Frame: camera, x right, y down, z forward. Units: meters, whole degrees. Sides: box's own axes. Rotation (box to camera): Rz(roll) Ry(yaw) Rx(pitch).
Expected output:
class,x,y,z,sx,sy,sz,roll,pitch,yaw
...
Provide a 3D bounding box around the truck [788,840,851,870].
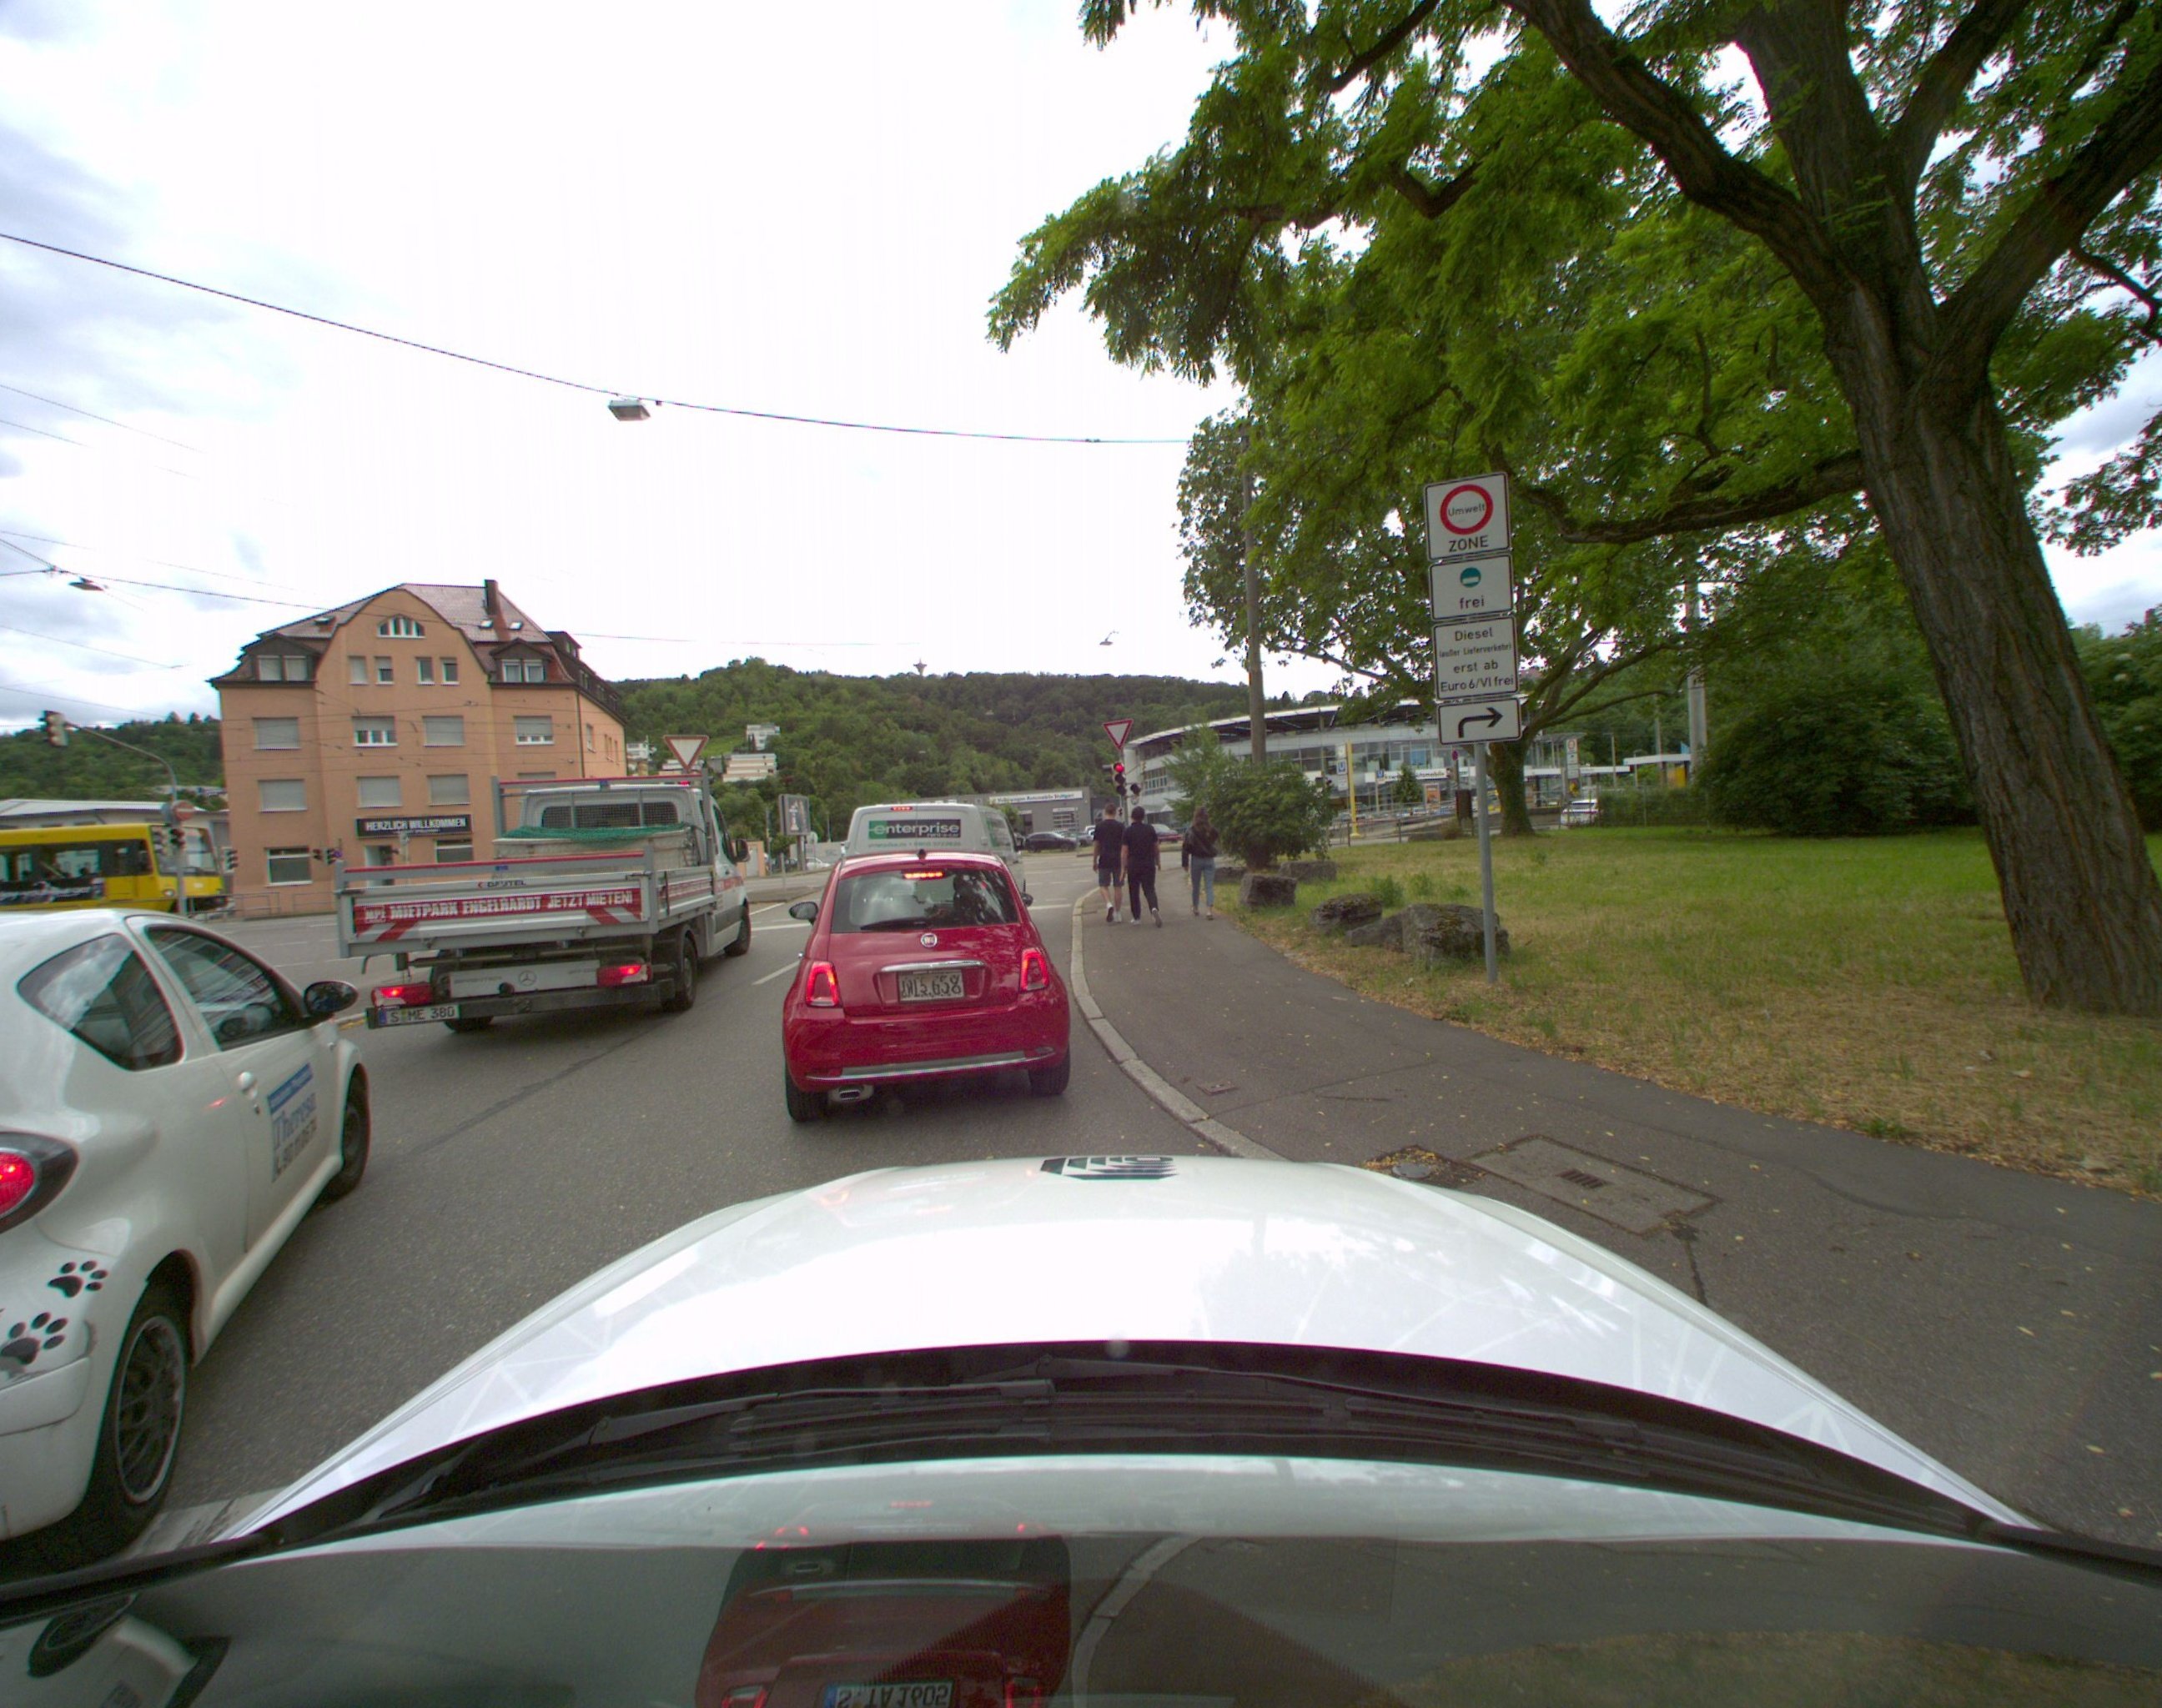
class,x,y,z,sx,sy,sz,roll,pitch,yaw
truck,-24.303,0.116,75.778,5.216,2.393,1.981,-5,2,-29

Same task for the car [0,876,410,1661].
class,x,y,z,sx,sy,sz,roll,pitch,yaw
car,-3.512,0.865,2.574,1.650,1.432,3.395,-5,2,-33

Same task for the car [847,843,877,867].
class,x,y,z,sx,sy,sz,roll,pitch,yaw
car,-18.334,0.012,68.334,1.860,1.817,4.387,-4,2,-10

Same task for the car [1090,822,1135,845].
class,x,y,z,sx,sy,sz,roll,pitch,yaw
car,3.467,-2.269,89.748,4.779,2.156,2.234,-4,1,1

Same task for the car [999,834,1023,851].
class,x,y,z,sx,sy,sz,roll,pitch,yaw
car,-6.721,-1.144,79.022,1.763,1.533,4.093,-4,2,2

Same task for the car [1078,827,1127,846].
class,x,y,z,sx,sy,sz,roll,pitch,yaw
car,2.162,-1.742,81.639,4.779,1.533,1.776,-4,1,1

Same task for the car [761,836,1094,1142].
class,x,y,z,sx,sy,sz,roll,pitch,yaw
car,-1.116,0.658,5.935,1.640,1.456,3.417,-3,1,-12

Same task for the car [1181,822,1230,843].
class,x,y,z,sx,sy,sz,roll,pitch,yaw
car,10.297,-1.759,67.671,1.782,1.500,3.981,-5,2,-32

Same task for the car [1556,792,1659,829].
class,x,y,z,sx,sy,sz,roll,pitch,yaw
car,25.604,-2.119,39.584,4.903,1.507,1.791,-5,3,-23

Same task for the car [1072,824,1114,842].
class,x,y,z,sx,sy,sz,roll,pitch,yaw
car,1.436,-2.552,96.764,4.779,1.802,1.776,-4,1,1

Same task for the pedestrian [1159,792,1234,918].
class,x,y,z,sx,sy,sz,roll,pitch,yaw
pedestrian,1.671,0.009,11.889,0.695,1.739,0.783,-5,1,-20

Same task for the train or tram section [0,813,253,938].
class,x,y,z,sx,sy,sz,roll,pitch,yaw
train or tram section,-39.159,1.132,25.768,19.133,3.665,3.263,-4,1,-13

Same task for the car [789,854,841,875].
class,x,y,z,sx,sy,sz,roll,pitch,yaw
car,-23.716,0.881,72.725,4.213,1.533,1.766,-4,2,-17

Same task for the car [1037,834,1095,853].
class,x,y,z,sx,sy,sz,roll,pitch,yaw
car,-1.299,-0.927,71.125,4.640,1.327,1.782,-3,1,12

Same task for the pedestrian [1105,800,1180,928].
class,x,y,z,sx,sy,sz,roll,pitch,yaw
pedestrian,0.861,0.127,11.593,0.695,1.714,0.783,-5,1,-20

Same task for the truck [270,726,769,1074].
class,x,y,z,sx,sy,sz,roll,pitch,yaw
truck,-5.223,0.260,9.015,2.426,2.397,5.999,-5,1,-14

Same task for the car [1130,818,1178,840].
class,x,y,z,sx,sy,sz,roll,pitch,yaw
car,5.919,-2.015,66.327,1.783,1.500,3.840,-5,2,-34

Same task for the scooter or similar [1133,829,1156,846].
class,x,y,z,sx,sy,sz,roll,pitch,yaw
scooter or similar,4.909,-1.289,63.034,1.660,1.177,0.468,-4,1,5

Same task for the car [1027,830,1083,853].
class,x,y,z,sx,sy,sz,roll,pitch,yaw
car,-1.955,-0.971,61.814,3.839,1.500,1.783,-3,1,15

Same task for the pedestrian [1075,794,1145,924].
class,x,y,z,sx,sy,sz,roll,pitch,yaw
pedestrian,0.431,0.062,12.300,0.695,1.857,0.783,-5,1,-20

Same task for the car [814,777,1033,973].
class,x,y,z,sx,sy,sz,roll,pitch,yaw
car,-1.941,0.180,11.714,1.982,2.106,4.763,-4,1,1

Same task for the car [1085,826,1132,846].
class,x,y,z,sx,sy,sz,roll,pitch,yaw
car,2.844,-1.911,85.206,4.779,1.802,1.776,-4,1,1

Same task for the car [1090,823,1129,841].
class,x,y,z,sx,sy,sz,roll,pitch,yaw
car,3.544,-2.745,101.583,4.779,1.802,1.776,-4,1,1

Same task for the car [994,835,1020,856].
class,x,y,z,sx,sy,sz,roll,pitch,yaw
car,-7.154,-0.859,79.107,1.987,1.815,4.000,-4,2,0
